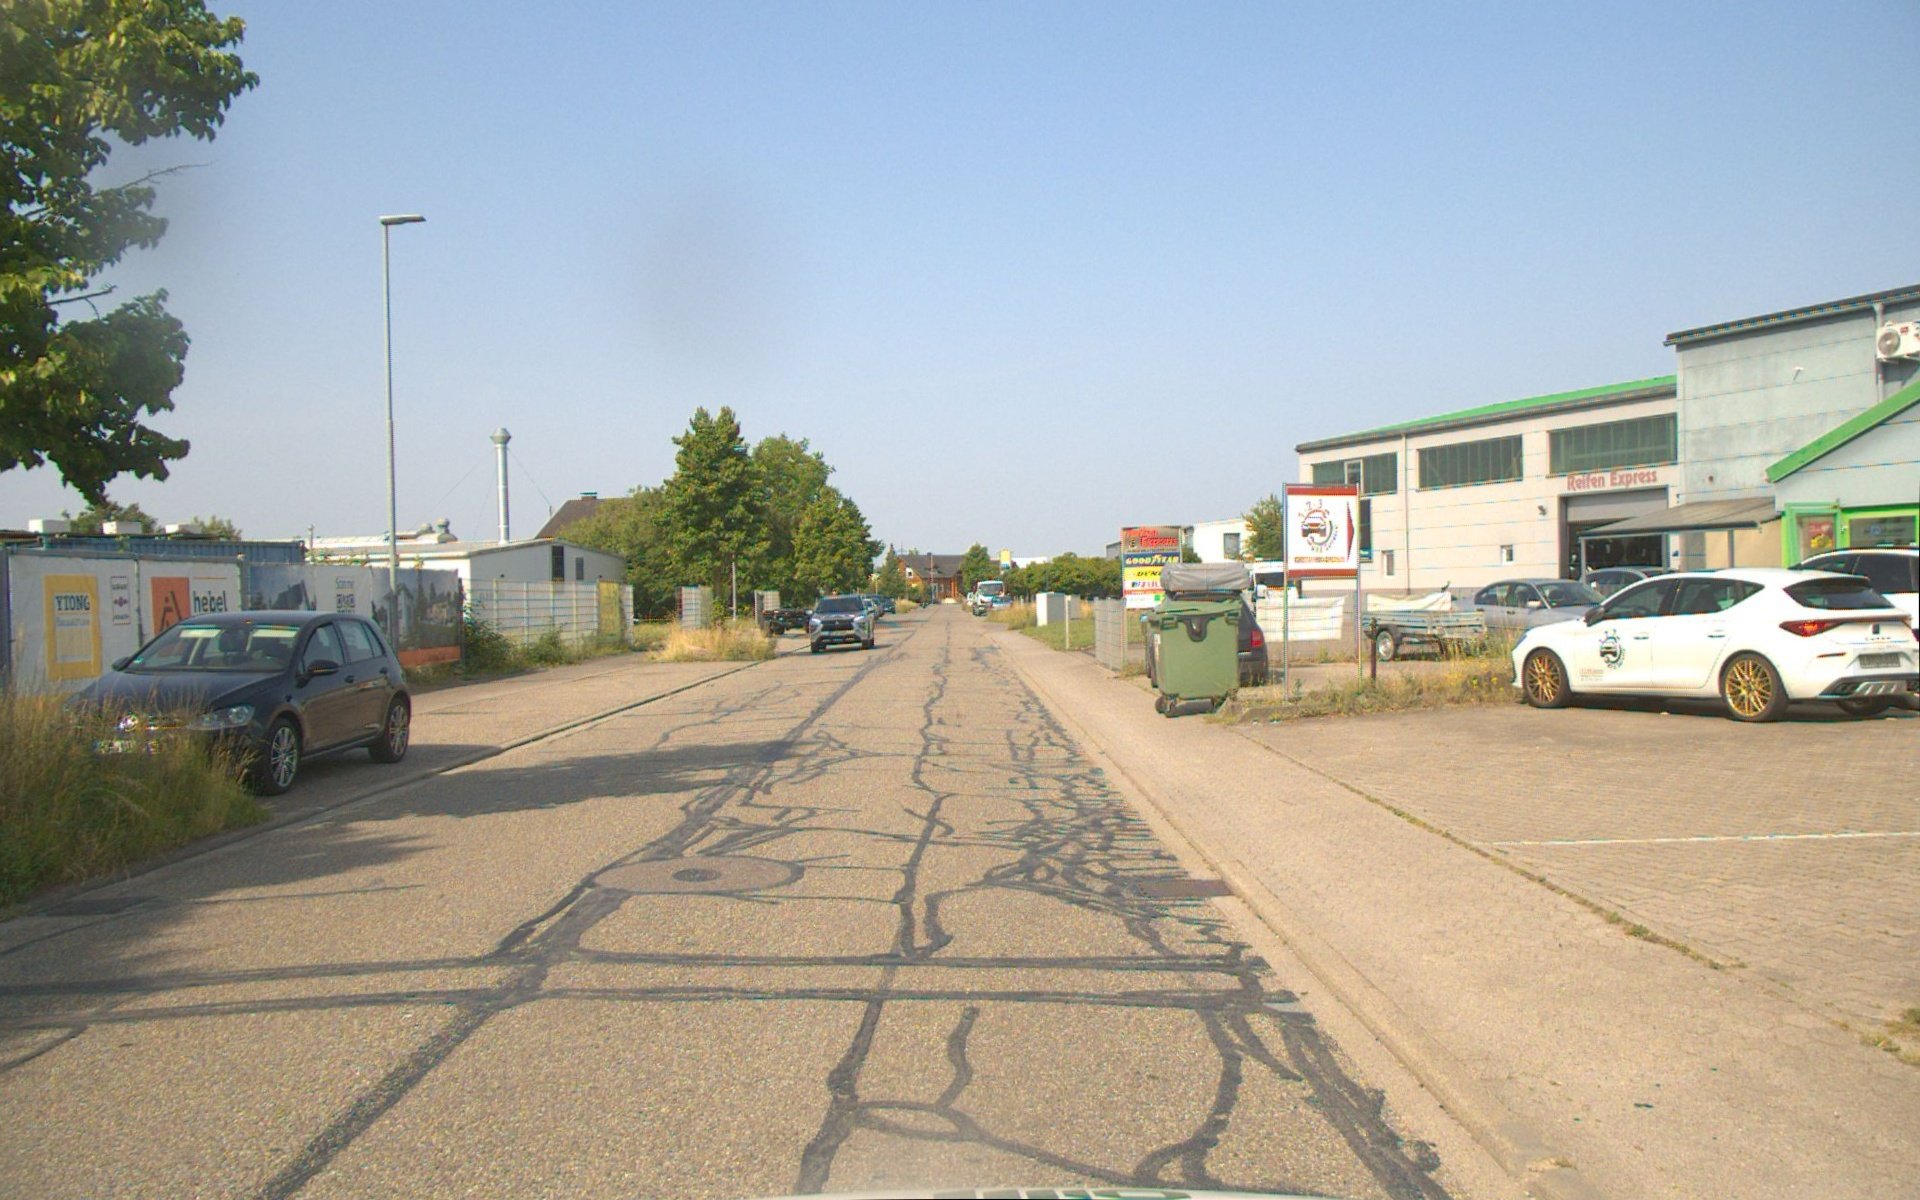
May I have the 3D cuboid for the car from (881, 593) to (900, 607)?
[{"bbox_3d":[-6.852,-0.013,163.673,1.763,1.411,3.637,0,0,-1],"label":"car"}]

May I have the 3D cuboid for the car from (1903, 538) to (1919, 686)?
[{"bbox_3d":[12.587,0.108,18.516,1.617,1.750,3.189,-2,0,-24],"label":"car"}]

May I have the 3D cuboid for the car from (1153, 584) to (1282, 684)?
[{"bbox_3d":[3.985,0.473,26.157,1.638,1.392,4.396,-2,0,4],"label":"car"}]

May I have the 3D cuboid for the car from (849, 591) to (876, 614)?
[{"bbox_3d":[-6.710,0.157,114.257,1.649,1.495,4.253,0,0,0],"label":"car"}]

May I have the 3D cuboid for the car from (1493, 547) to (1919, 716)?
[{"bbox_3d":[7.648,0.282,17.105,1.666,1.491,4.230,-2,0,-24],"label":"car"}]

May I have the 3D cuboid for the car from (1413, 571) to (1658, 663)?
[{"bbox_3d":[10.344,0.288,30.086,1.618,1.491,4.427,-2,0,-24],"label":"car"}]

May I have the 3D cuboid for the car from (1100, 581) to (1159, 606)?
[{"bbox_3d":[11.988,-0.474,116.708,1.659,1.616,4.501,-2,0,45],"label":"car"}]

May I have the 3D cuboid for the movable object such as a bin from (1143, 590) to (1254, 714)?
[{"bbox_3d":[2.878,0.606,20.120,1.059,1.376,1.506,-4,0,0],"label":"movable object such as a bin"}]

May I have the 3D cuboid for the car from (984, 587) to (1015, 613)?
[{"bbox_3d":[2.469,-0.030,104.463,1.757,1.544,4.423,-2,0,-1],"label":"car"}]

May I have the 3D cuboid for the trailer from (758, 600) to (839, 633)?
[{"bbox_3d":[-6.571,0.646,68.498,2.530,1.205,9.361,0,0,-1],"label":"trailer"}]

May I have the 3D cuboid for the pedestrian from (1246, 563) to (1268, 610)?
[{"bbox_3d":[10.580,-0.484,58.923,0.687,1.668,0.749,-2,0,13],"label":"pedestrian"}]

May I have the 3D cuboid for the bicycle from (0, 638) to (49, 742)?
[{"bbox_3d":[-9.628,0.905,15.749,0.551,0.990,2.452,-2,0,-1],"label":"bicycle"}]

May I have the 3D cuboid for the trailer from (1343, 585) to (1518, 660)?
[{"bbox_3d":[8.478,0.378,29.983,1.472,1.270,2.952,0,0,-26],"label":"trailer"}]

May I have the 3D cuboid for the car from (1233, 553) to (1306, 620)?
[{"bbox_3d":[13.402,-0.573,71.958,1.934,2.753,5.880,-2,0,-1],"label":"car"}]

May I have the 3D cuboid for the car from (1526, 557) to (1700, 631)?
[{"bbox_3d":[15.104,-0.126,38.462,1.611,1.595,3.781,-2,0,-21],"label":"car"}]

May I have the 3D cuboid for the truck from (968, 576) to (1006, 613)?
[{"bbox_3d":[2.081,-0.456,128.029,2.313,2.728,6.506,-2,0,-4],"label":"truck"}]

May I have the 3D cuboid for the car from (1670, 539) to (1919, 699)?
[{"bbox_3d":[9.909,0.170,17.801,1.693,1.599,4.101,-2,0,-24],"label":"car"}]

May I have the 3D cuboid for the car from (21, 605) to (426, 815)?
[{"bbox_3d":[-6.264,0.847,14.634,1.652,1.495,4.094,-2,0,1],"label":"car"}]

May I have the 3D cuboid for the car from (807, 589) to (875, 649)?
[{"bbox_3d":[-3.576,0.532,50.239,1.775,1.655,4.248,-2,0,-1],"label":"car"}]
